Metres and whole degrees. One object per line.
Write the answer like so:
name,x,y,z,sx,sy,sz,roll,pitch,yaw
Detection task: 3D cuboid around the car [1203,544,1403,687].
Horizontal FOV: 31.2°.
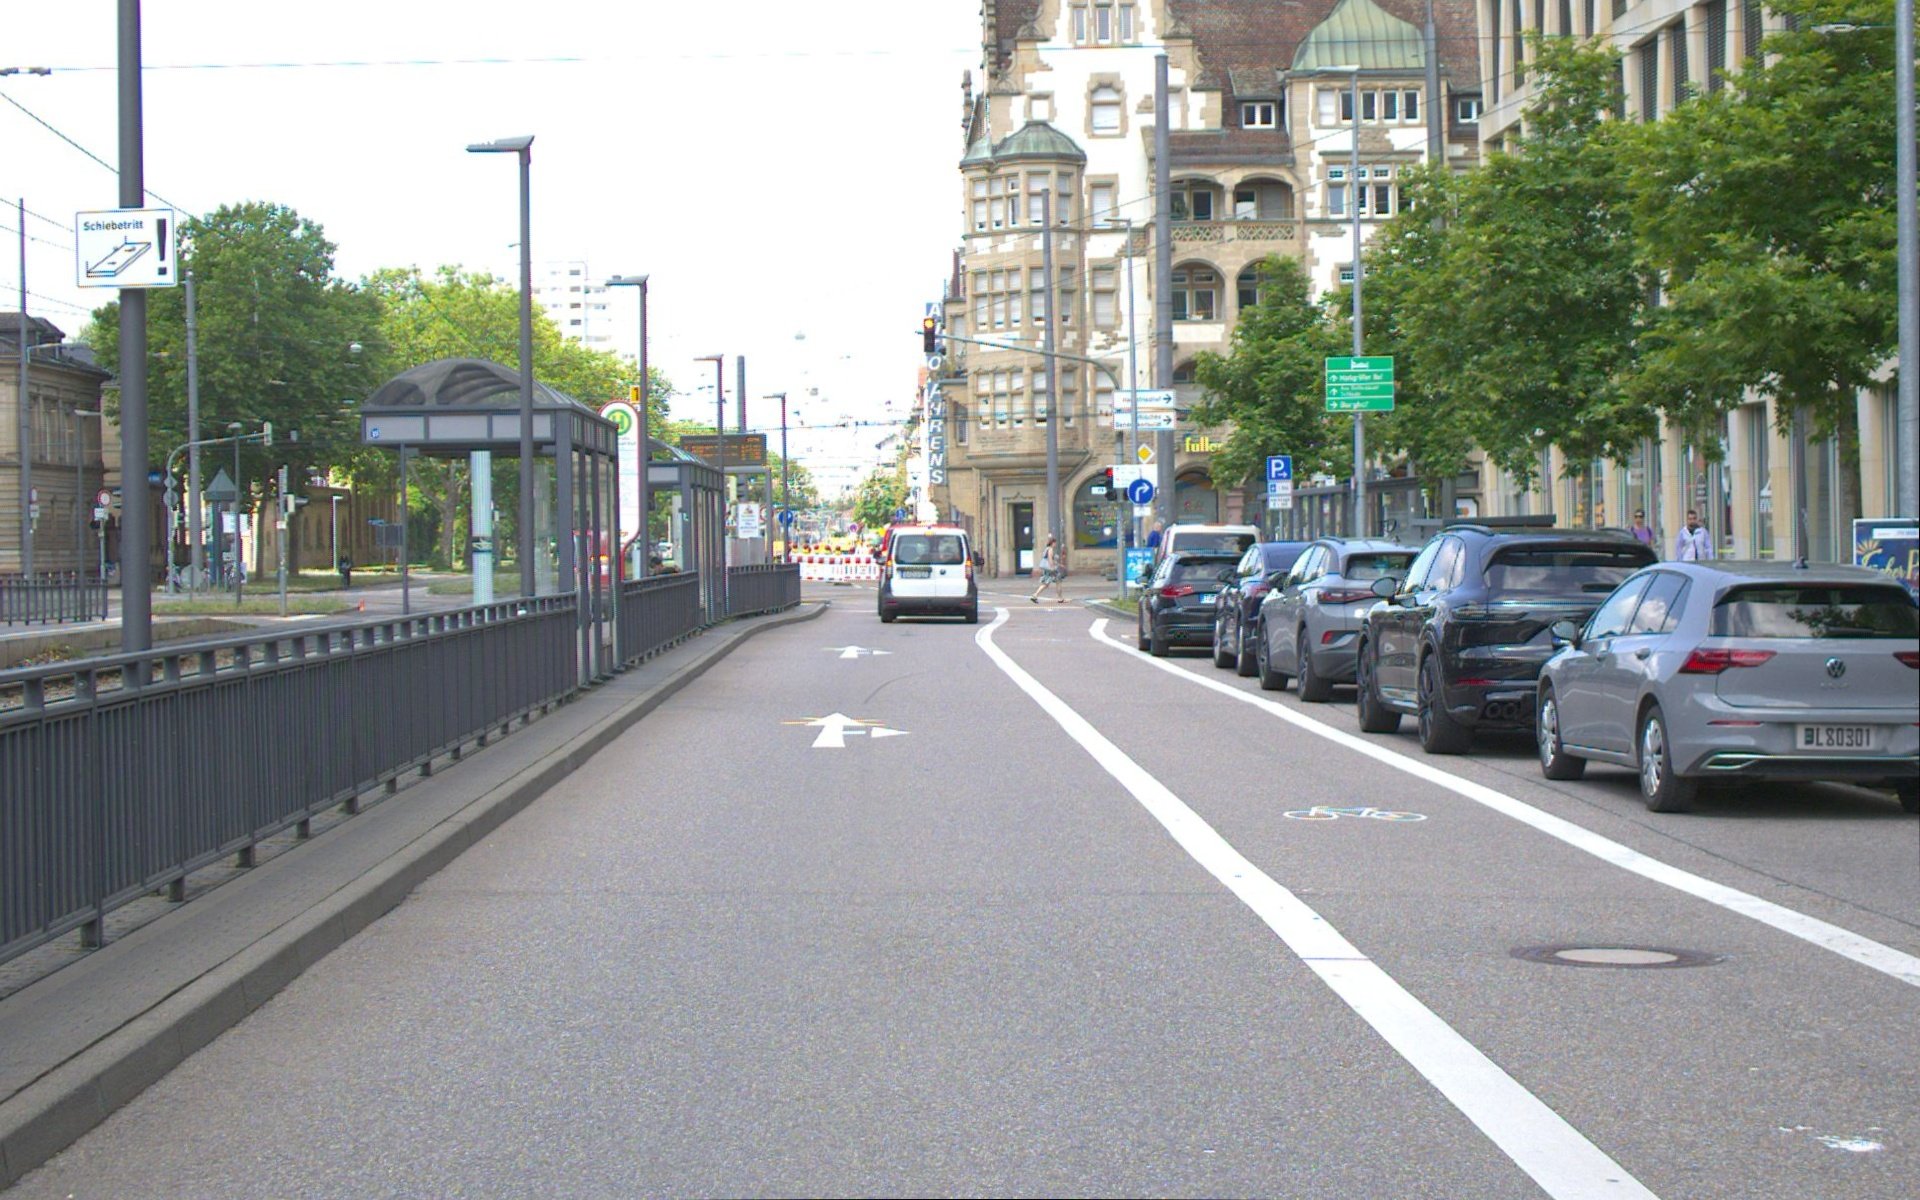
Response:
car,4.068,0.141,41.378,1.807,1.586,4.306,1,1,-2

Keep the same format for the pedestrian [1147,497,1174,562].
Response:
pedestrian,4.951,-1.730,84.835,0.534,1.567,0.542,-3,1,-3

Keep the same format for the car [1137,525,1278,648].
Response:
car,3.740,-0.225,52.465,1.709,1.790,3.362,1,1,-3

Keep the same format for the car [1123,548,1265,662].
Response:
car,3.188,0.041,47.454,1.443,1.465,4.093,1,1,-3

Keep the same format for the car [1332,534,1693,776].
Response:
car,4.132,0.339,26.481,1.738,1.664,4.841,1,1,-3

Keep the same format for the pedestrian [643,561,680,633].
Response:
pedestrian,-4.806,-0.045,55.434,0.513,1.136,0.501,-3,1,-1

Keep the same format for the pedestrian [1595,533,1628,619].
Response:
pedestrian,10.960,-0.404,57.866,0.438,1.443,0.434,-1,1,-2

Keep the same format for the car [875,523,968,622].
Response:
car,-0.844,-0.592,72.253,1.868,2.013,4.000,0,1,-2

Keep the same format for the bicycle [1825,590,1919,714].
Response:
bicycle,8.327,0.429,29.144,1.823,1.027,0.584,-1,1,2

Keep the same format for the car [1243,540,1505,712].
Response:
car,4.095,0.205,34.774,1.806,1.586,4.841,1,1,-3

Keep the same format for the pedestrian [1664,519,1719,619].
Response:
pedestrian,12.334,-0.531,57.983,0.760,1.664,0.659,-1,1,-2

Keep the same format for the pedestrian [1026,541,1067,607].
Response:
pedestrian,2.089,-0.628,83.079,0.805,1.567,0.629,-3,1,-10

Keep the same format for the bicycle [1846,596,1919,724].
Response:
bicycle,8.284,0.481,28.347,1.823,1.027,0.432,-1,1,2

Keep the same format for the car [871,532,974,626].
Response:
car,-0.748,-0.420,65.875,1.868,1.740,4.000,0,1,-2

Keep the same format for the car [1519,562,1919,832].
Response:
car,4.637,0.512,20.877,1.591,1.429,4.108,1,1,-3

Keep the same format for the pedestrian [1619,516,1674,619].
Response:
pedestrian,11.567,-0.548,57.961,0.760,1.718,0.659,-1,1,-2
